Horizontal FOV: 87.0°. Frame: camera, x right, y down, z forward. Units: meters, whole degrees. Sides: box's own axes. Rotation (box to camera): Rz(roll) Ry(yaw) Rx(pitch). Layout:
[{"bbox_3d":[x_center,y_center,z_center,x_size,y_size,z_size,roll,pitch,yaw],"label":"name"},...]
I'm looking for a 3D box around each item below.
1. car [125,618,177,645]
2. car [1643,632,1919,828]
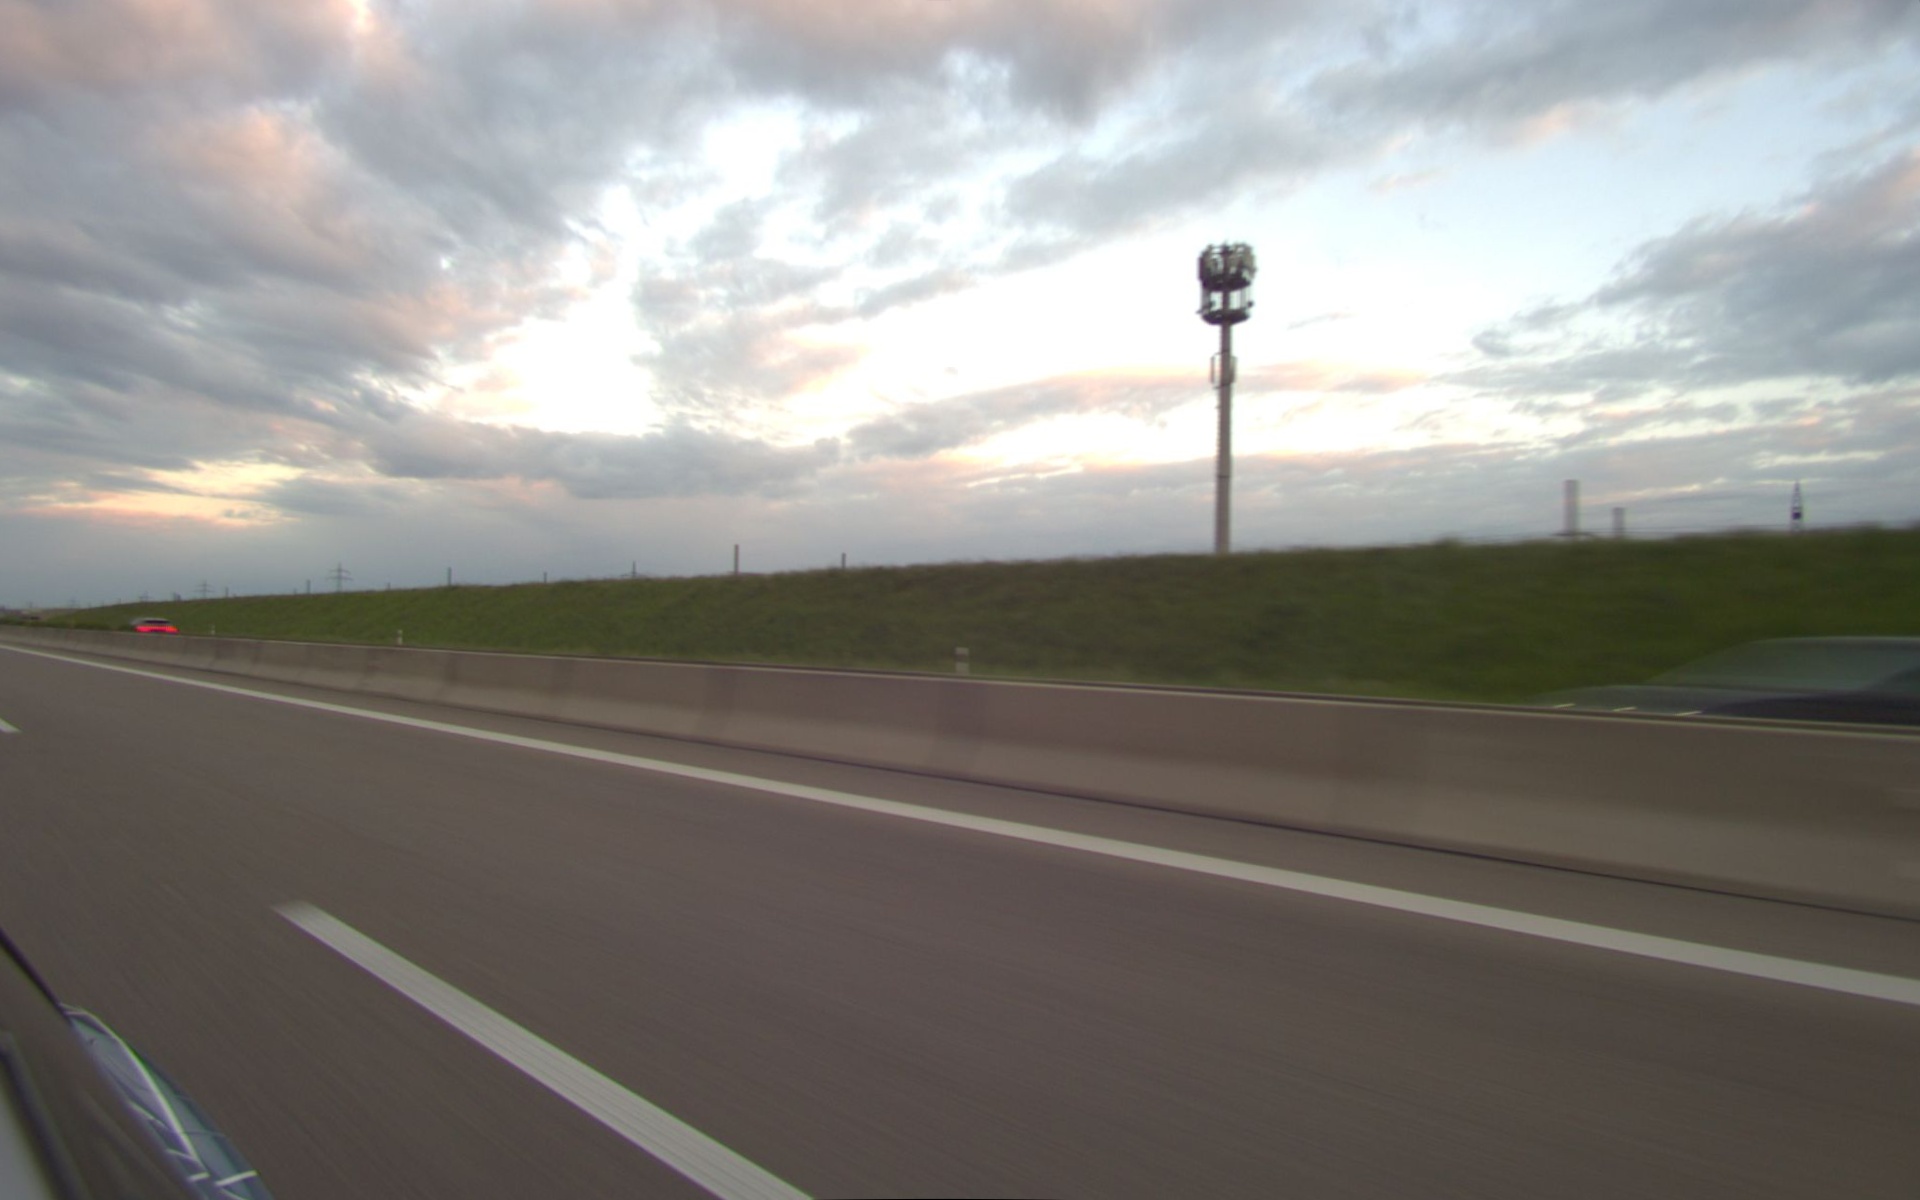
[{"bbox_3d":[-42.910,1.664,53.664,3.772,1.396,1.560,-1,-3,42],"label":"car"},{"bbox_3d":[7.899,0.954,7.550,4.491,1.396,1.728,-1,-3,40],"label":"car"}]
